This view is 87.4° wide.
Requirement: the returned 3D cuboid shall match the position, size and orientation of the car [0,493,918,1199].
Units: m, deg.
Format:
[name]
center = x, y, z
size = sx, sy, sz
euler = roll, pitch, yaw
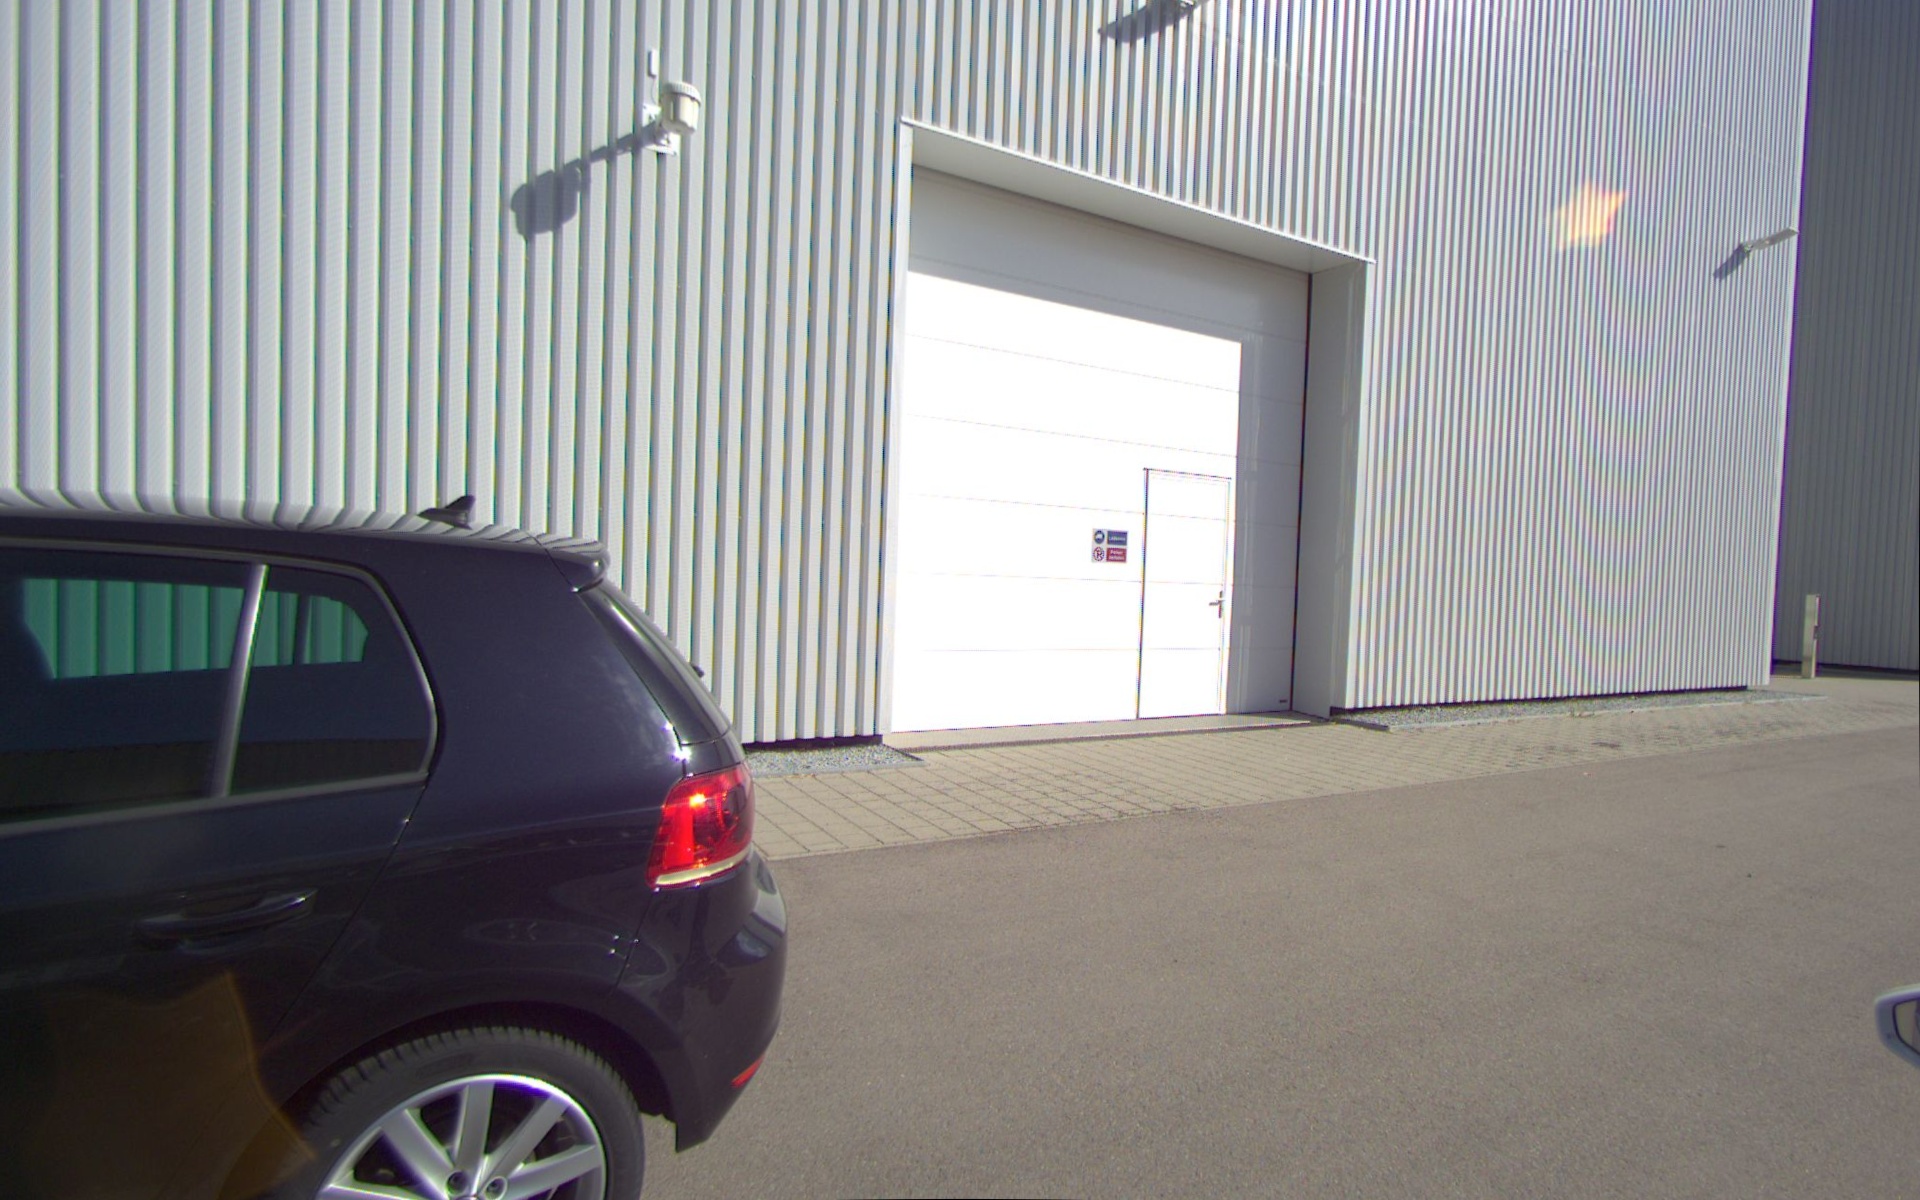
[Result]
[car]
center = -2.377, 0.522, 1.657
size = 4.264, 1.465, 1.747
euler = 1, 4, -30
